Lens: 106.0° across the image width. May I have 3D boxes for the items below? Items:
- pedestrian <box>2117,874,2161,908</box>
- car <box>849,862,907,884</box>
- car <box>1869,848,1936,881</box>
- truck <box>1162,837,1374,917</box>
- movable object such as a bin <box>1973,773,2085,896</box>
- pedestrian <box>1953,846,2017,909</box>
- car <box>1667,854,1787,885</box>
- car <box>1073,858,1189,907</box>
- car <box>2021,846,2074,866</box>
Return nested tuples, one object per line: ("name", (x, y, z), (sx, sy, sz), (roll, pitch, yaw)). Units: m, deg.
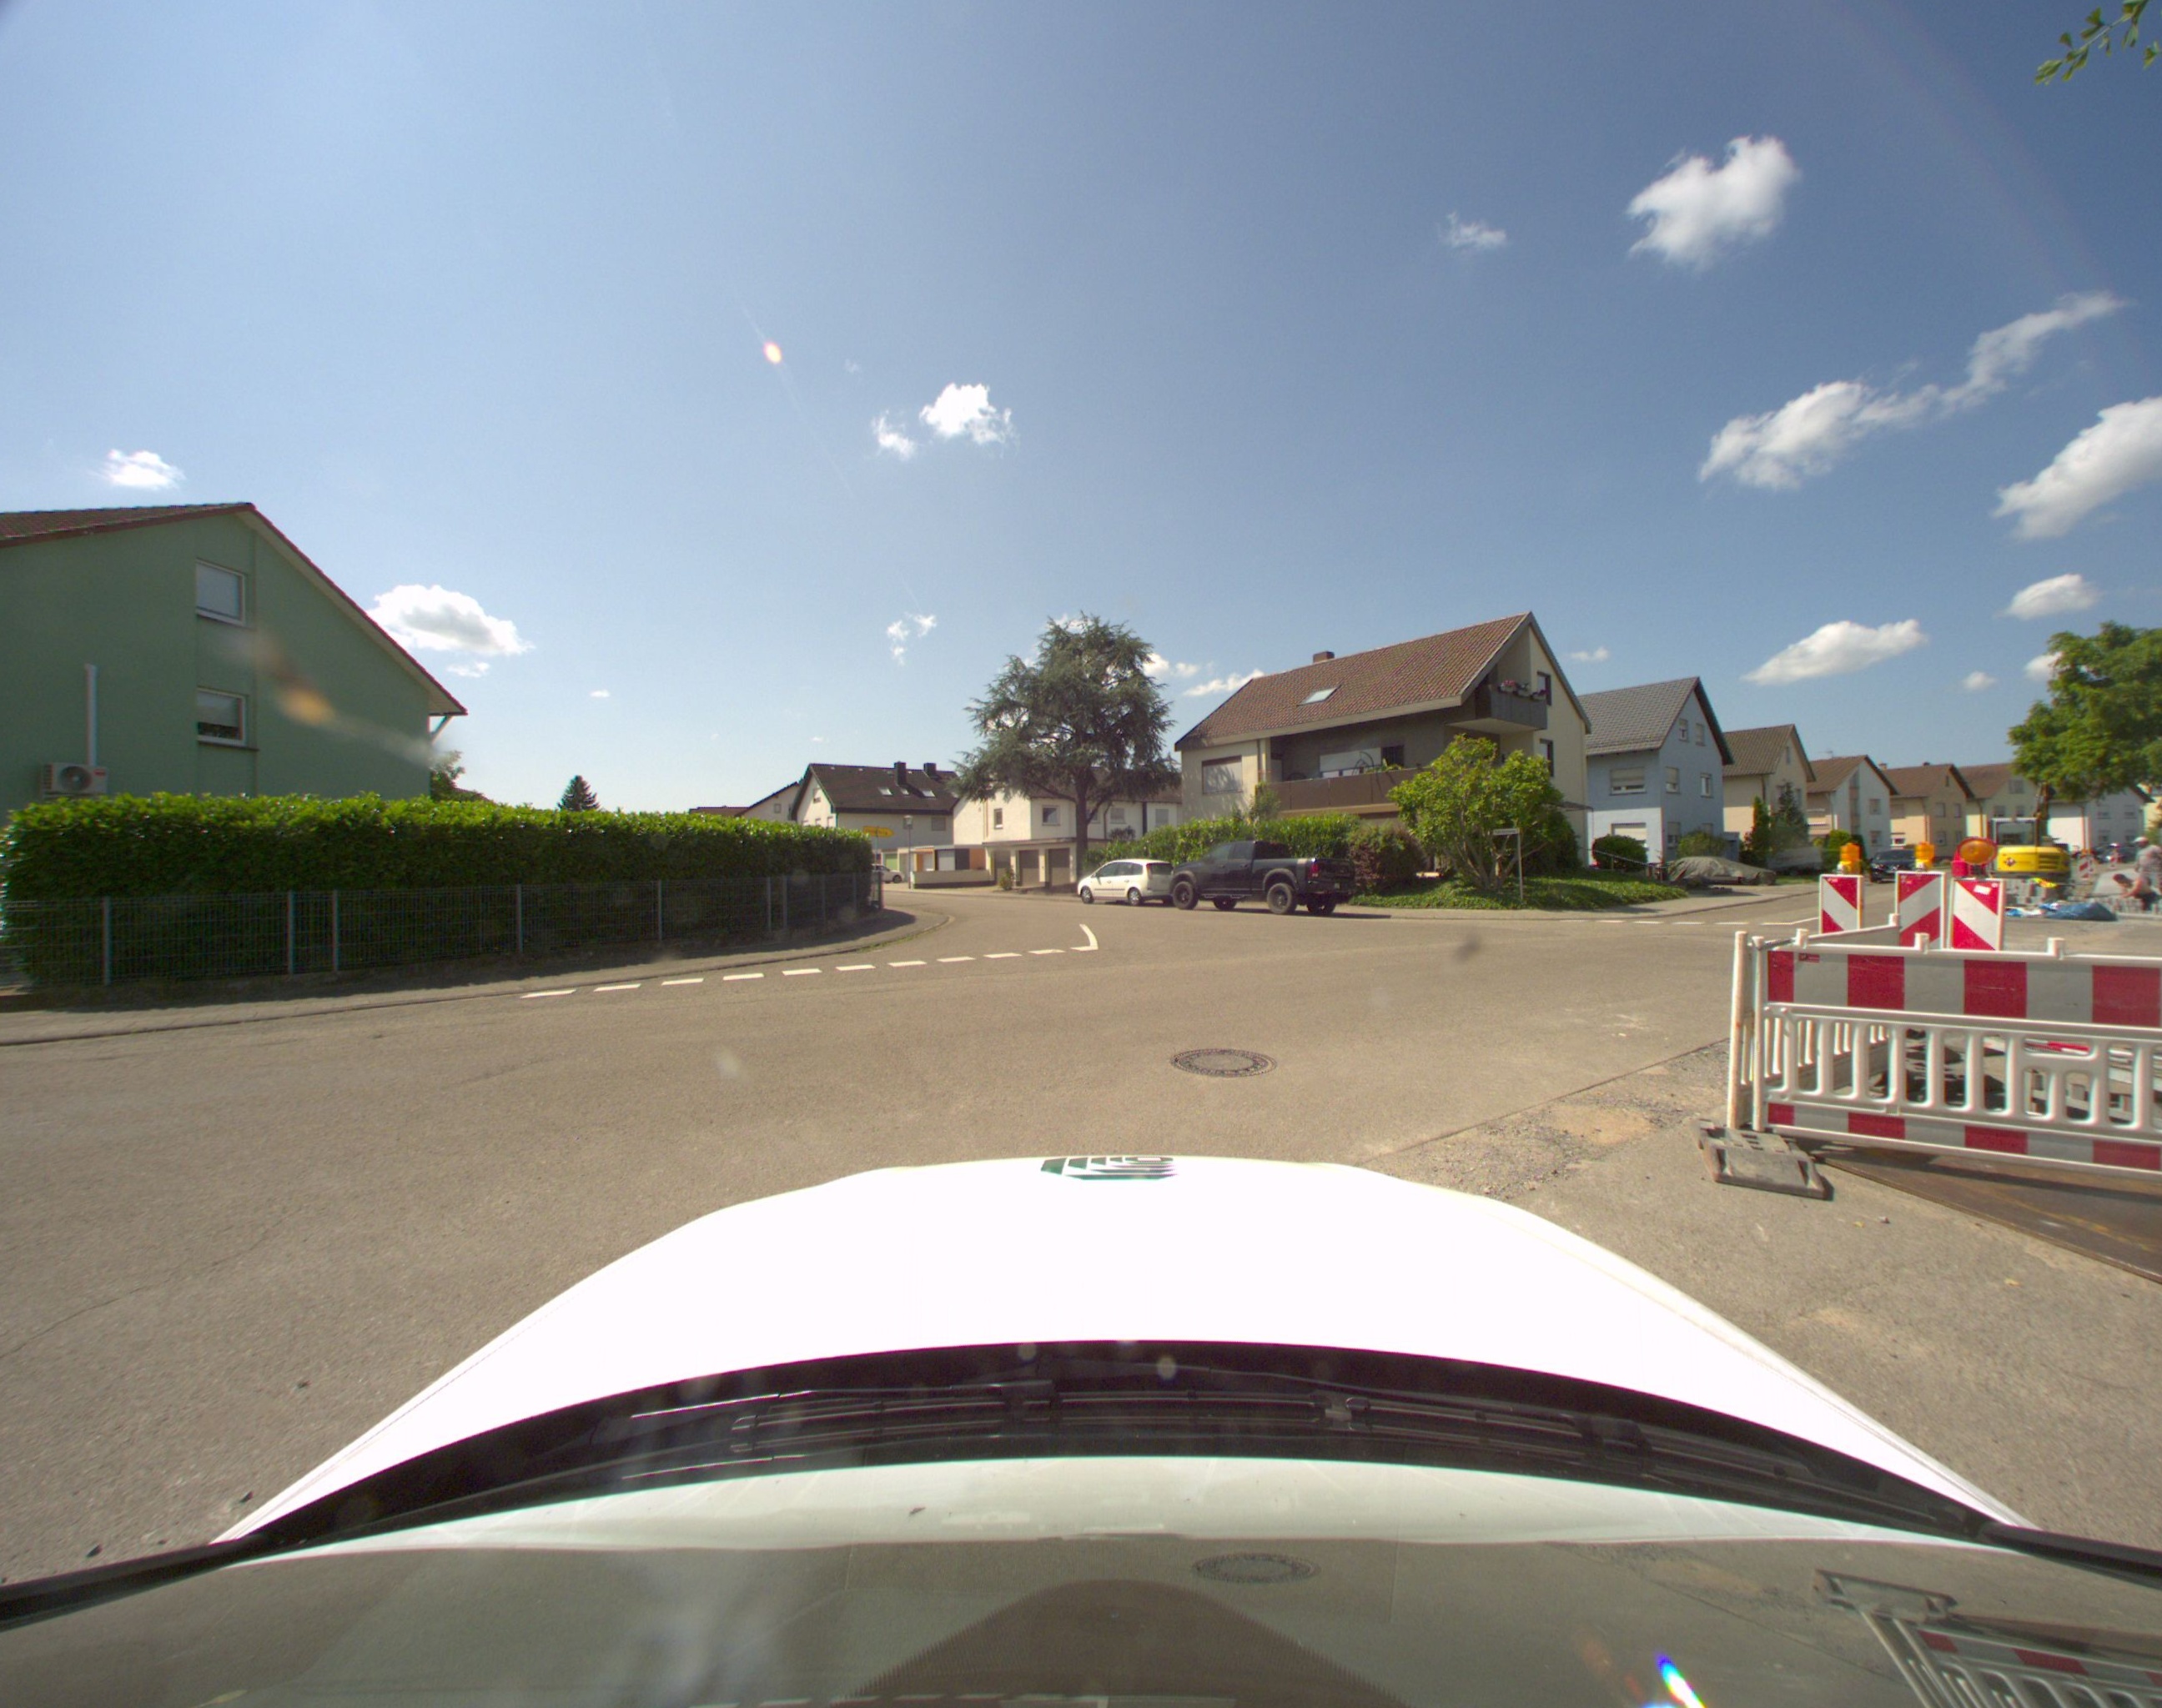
("pedestrian", (25.165, 0.876, 19.339), (0.517, 0.793, 0.433), (-2, -1, 18))
("car", (-14.524, 1.342, 58.283), (3.628, 1.408, 1.764), (-1, -1, -37))
("car", (40.191, 0.490, 39.835), (4.020, 1.542, 1.898), (-1, -1, -39))
("truck", (5.221, 0.642, 23.502), (2.383, 2.014, 5.645), (1, -2, -40))
("movable object such as a bin", (29.803, -0.566, 25.580), (3.833, 3.565, 1.978), (-1, -1, -37))
("pedestrian", (22.087, 0.576, 19.914), (0.843, 1.514, 0.534), (-2, -1, 11))
("car", (29.673, 0.708, 37.498), (2.010, 1.342, 3.954), (-1, -1, -39))
("car", (1.692, 0.973, 28.913), (1.812, 1.563, 4.095), (0, -1, -39))
("car", (84.890, 0.174, 71.515), (4.005, 1.650, 1.952), (-1, -1, -24))
